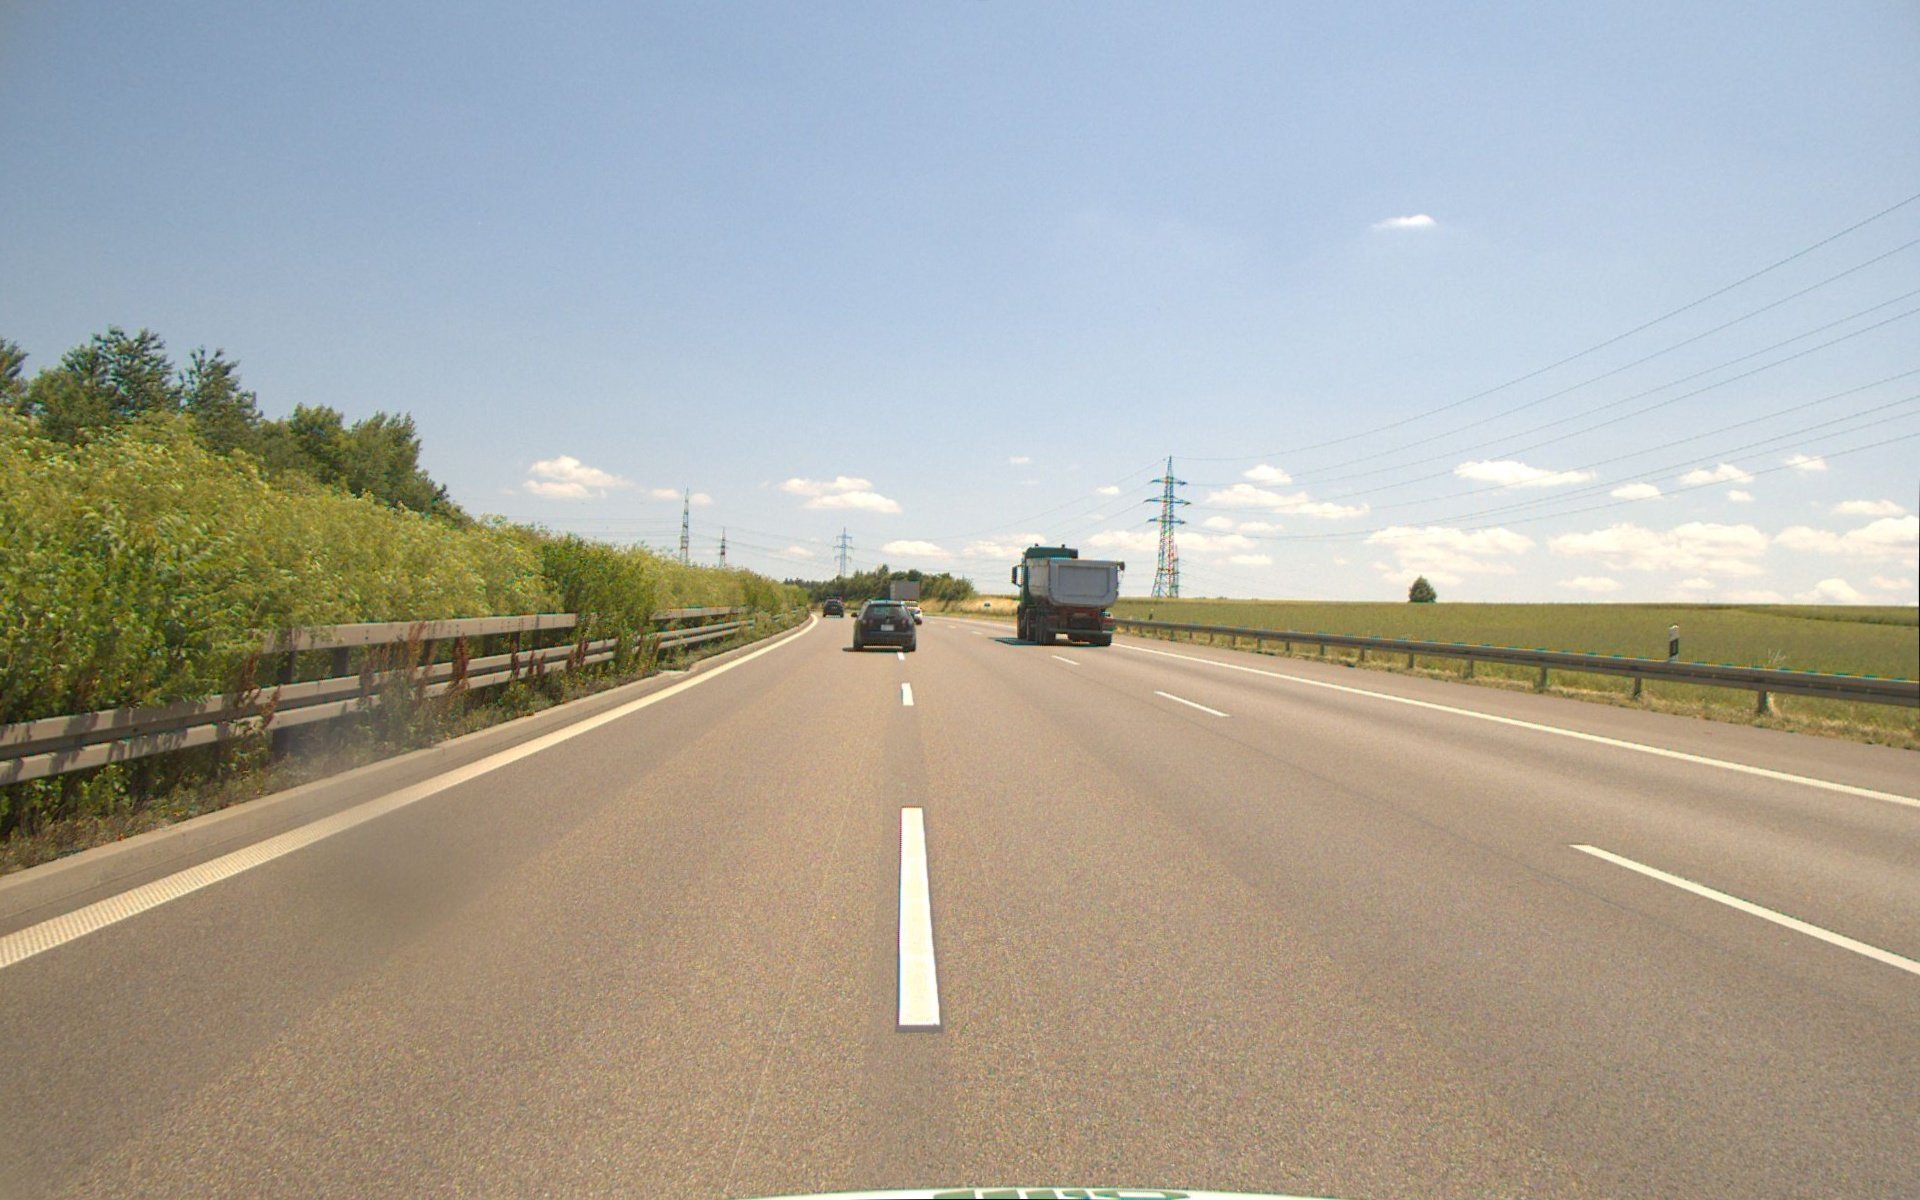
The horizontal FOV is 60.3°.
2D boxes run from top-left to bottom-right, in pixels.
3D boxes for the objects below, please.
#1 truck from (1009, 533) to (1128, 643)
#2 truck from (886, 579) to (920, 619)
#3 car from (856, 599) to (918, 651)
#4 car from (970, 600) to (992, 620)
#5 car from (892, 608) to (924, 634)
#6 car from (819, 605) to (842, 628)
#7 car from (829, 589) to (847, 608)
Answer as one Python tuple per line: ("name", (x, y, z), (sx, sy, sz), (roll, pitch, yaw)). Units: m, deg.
("truck", (3.992, -0.377, 64.046), (2.809, 3.789, 12.751), (1, 0, -4))
("truck", (-6.036, -0.033, 174.780), (3.158, 3.993, 9.052), (1, -1, -4))
("car", (-2.120, 0.716, 48.890), (1.721, 1.454, 3.999), (1, 0, -1))
("car", (1.994, 0.953, 158.506), (1.953, 1.885, 3.999), (1, 0, -1))
("car", (-3.230, 1.266, 102.876), (1.784, 1.568, 3.910), (1, 0, -5))
("car", (-10.964, 1.385, 140.259), (1.954, 1.892, 3.996), (1, 0, -4))
("car", (-12.997, -0.144, 176.788), (1.864, 1.959, 3.997), (1, 0, -3))
